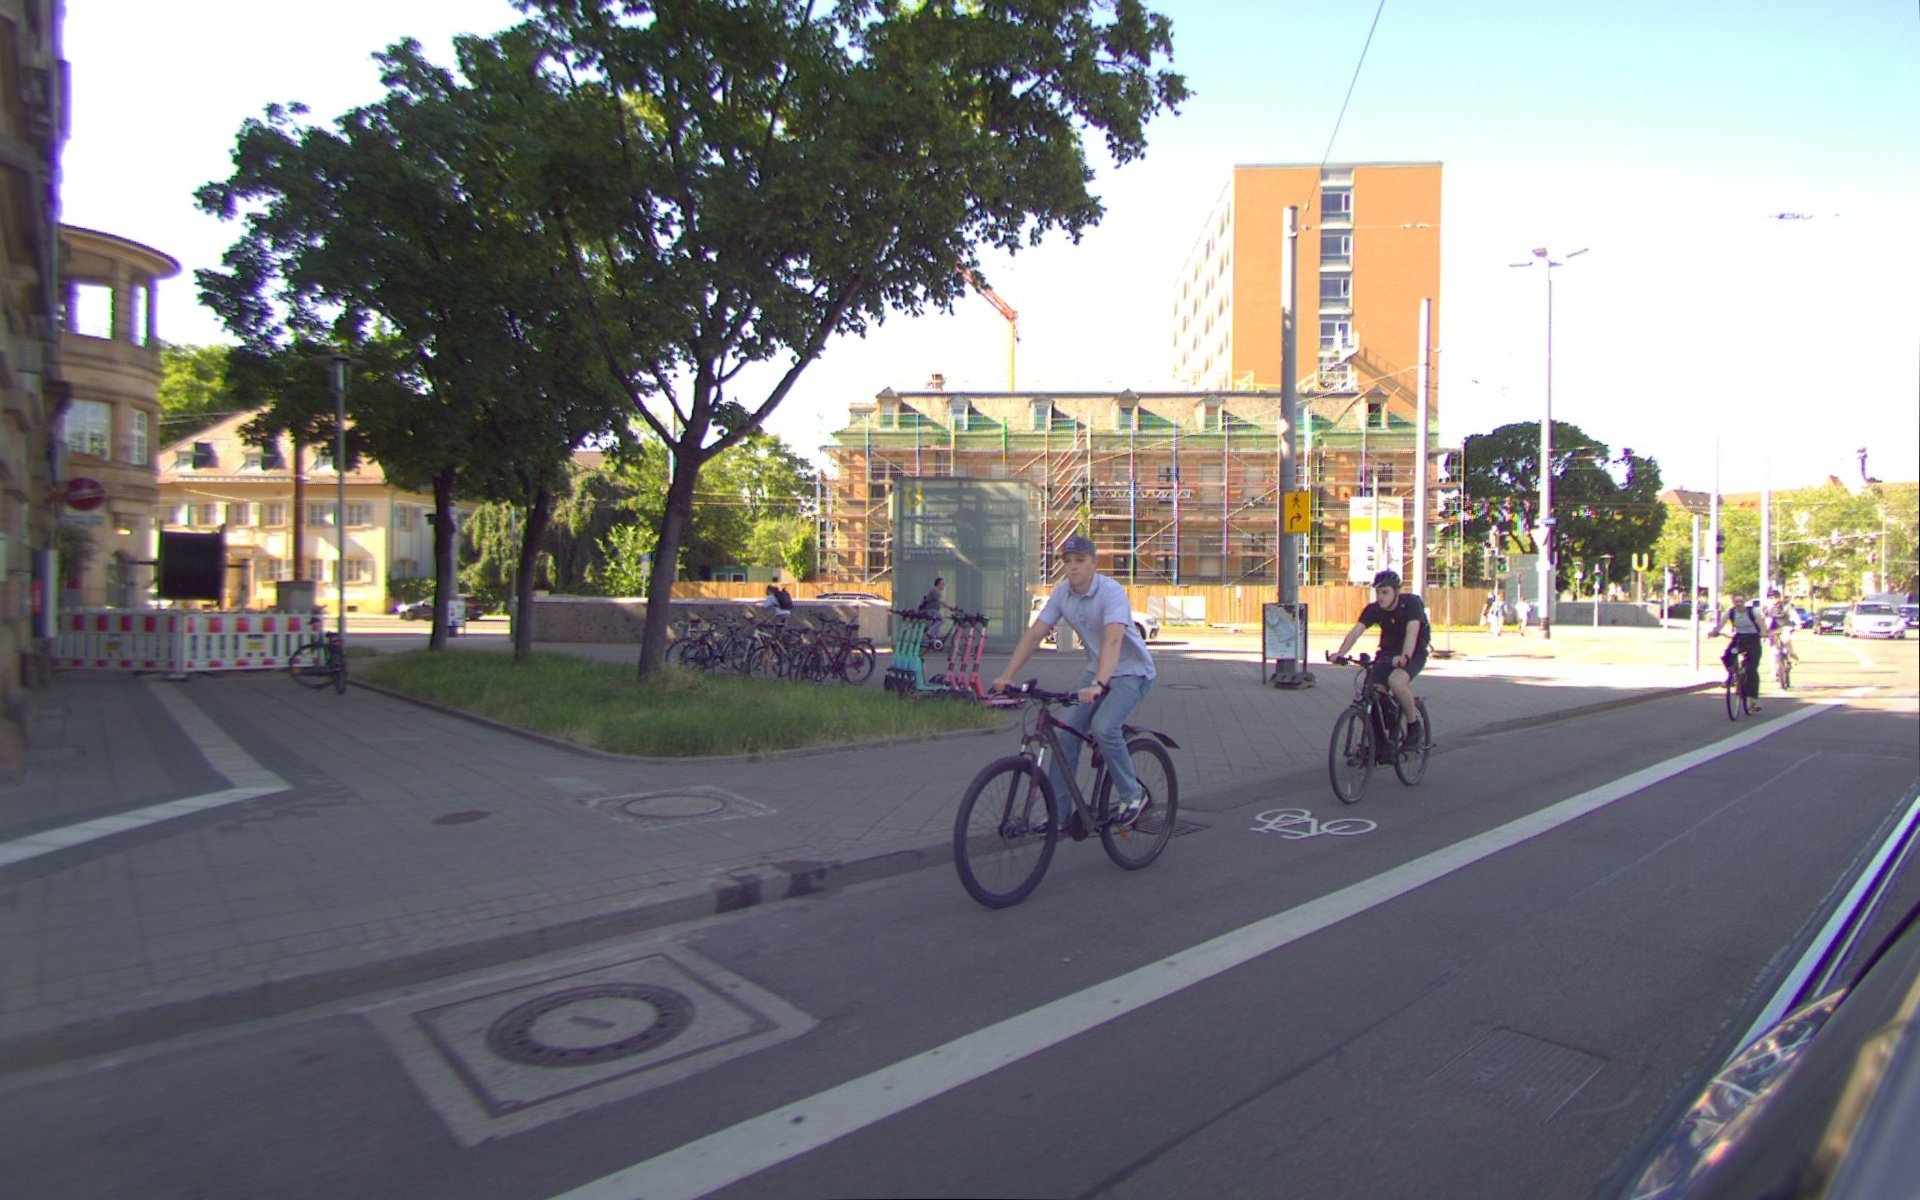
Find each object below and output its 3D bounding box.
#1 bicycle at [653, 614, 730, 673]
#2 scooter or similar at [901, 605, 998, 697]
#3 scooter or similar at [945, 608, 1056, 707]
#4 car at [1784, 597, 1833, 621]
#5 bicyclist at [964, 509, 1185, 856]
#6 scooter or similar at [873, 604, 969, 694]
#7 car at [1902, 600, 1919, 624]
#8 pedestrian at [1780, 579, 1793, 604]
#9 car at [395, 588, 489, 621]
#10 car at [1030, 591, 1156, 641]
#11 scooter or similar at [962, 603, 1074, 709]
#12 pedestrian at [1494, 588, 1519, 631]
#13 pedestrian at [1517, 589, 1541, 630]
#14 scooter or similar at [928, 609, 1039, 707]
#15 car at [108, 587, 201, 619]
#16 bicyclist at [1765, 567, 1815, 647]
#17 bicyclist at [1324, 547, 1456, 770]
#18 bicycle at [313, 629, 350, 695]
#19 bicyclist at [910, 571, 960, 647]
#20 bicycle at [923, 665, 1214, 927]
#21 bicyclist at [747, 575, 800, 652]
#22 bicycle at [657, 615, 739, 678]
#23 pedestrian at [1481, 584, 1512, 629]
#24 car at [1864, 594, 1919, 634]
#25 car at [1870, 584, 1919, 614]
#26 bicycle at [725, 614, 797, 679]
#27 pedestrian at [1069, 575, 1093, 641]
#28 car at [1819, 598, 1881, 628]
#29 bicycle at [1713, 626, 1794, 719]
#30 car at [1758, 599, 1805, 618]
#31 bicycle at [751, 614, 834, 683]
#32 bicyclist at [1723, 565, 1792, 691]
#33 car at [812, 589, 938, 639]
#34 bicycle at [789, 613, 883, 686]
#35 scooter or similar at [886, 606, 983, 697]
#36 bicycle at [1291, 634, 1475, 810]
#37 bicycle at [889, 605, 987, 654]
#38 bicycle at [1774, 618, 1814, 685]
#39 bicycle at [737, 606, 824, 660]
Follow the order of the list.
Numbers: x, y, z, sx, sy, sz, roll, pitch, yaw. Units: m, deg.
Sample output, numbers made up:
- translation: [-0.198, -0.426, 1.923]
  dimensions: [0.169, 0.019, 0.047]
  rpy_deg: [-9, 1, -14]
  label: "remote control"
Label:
- translation: [-5.186, 0.827, 19.595]
  dimensions: [0.403, 1.075, 1.440]
  rpy_deg: [-2, -1, 42]
  label: "bicycle"
- translation: [-0.126, 0.691, 14.103]
  dimensions: [1.537, 1.200, 0.270]
  rpy_deg: [-1, -1, -41]
  label: "scooter or similar"
- translation: [0.537, 0.702, 12.930]
  dimensions: [1.674, 1.172, 0.270]
  rpy_deg: [-1, -1, -41]
  label: "scooter or similar"
- translation: [58.033, 0.612, 69.276]
  dimensions: [1.872, 1.586, 3.968]
  rpy_deg: [-1, 0, 31]
  label: "car"
- translation: [0.600, 0.389, 5.304]
  dimensions: [0.871, 1.613, 0.783]
  rpy_deg: [1, -2, -44]
  label: "bicyclist"
- translation: [-0.550, 0.684, 14.595]
  dimensions: [1.537, 1.211, 0.270]
  rpy_deg: [-1, -1, -41]
  label: "scooter or similar"
- translation: [62.789, 0.731, 65.623]
  dimensions: [1.874, 1.477, 3.964]
  rpy_deg: [-1, 0, 34]
  label: "car"
- translation: [85.629, -0.879, 104.861]
  dimensions: [0.867, 2.466, 0.881]
  rpy_deg: [-1, -1, 28]
  label: "pedestrian"
- translation: [-27.354, 0.215, 53.544]
  dimensions: [3.922, 1.638, 2.001]
  rpy_deg: [-1, 0, -2]
  label: "car"
- translation: [4.582, 0.521, 34.700]
  dimensions: [4.184, 1.641, 1.913]
  rpy_deg: [0, 1, 11]
  label: "car"
- translation: [0.752, 0.670, 12.726]
  dimensions: [1.674, 1.235, 0.270]
  rpy_deg: [-1, -1, -41]
  label: "scooter or similar"
- translation: [22.954, 0.395, 42.509]
  dimensions: [0.659, 1.779, 0.810]
  rpy_deg: [-2, -1, 45]
  label: "pedestrian"
- translation: [23.964, 0.413, 42.621]
  dimensions: [0.659, 1.698, 0.810]
  rpy_deg: [-2, -1, 45]
  label: "pedestrian"
- translation: [0.326, 0.725, 13.141]
  dimensions: [1.674, 1.178, 0.270]
  rpy_deg: [-1, -1, -41]
  label: "scooter or similar"
- translation: [-43.907, 0.152, 55.210]
  dimensions: [3.754, 1.641, 1.916]
  rpy_deg: [0, 1, 6]
  label: "car"
- translation: [15.470, 0.128, 18.862]
  dimensions: [0.673, 1.439, 1.021]
  rpy_deg: [-2, -1, 41]
  label: "bicyclist"
- translation: [3.404, 0.429, 7.995]
  dimensions: [0.623, 1.634, 0.965]
  rpy_deg: [-2, -1, 44]
  label: "bicyclist"
- translation: [-8.969, 0.857, 14.424]
  dimensions: [0.397, 0.867, 1.422]
  rpy_deg: [-1, -1, -34]
  label: "bicycle"
- translation: [-0.558, 0.207, 22.815]
  dimensions: [1.029, 1.681, 0.453]
  rpy_deg: [-1, -1, 9]
  label: "bicyclist"
- translation: [0.643, 0.926, 5.331]
  dimensions: [1.901, 1.082, 0.386]
  rpy_deg: [1, -1, -44]
  label: "bicycle"
- translation: [-4.027, 0.294, 21.914]
  dimensions: [0.941, 1.634, 0.595]
  rpy_deg: [-1, -1, 22]
  label: "bicyclist"
- translation: [-4.734, 0.818, 18.355]
  dimensions: [0.403, 1.075, 1.438]
  rpy_deg: [-2, -1, 44]
  label: "bicycle"
- translation: [23.509, 0.289, 44.332]
  dimensions: [0.931, 1.954, 1.032]
  rpy_deg: [-2, -1, 45]
  label: "pedestrian"
- translation: [40.723, 0.577, 44.089]
  dimensions: [1.879, 1.651, 3.953]
  rpy_deg: [-2, -1, 41]
  label: "car"
- translation: [88.173, -0.087, 95.262]
  dimensions: [2.220, 2.715, 5.262]
  rpy_deg: [-1, 0, 24]
  label: "car"
- translation: [-3.461, 0.791, 17.668]
  dimensions: [0.401, 1.075, 1.336]
  rpy_deg: [-2, -1, 33]
  label: "bicycle"
- translation: [3.469, 0.233, 28.943]
  dimensions: [0.639, 1.872, 0.546]
  rpy_deg: [-1, -1, 7]
  label: "pedestrian"
- translation: [49.964, 0.721, 56.886]
  dimensions: [1.872, 1.586, 3.968]
  rpy_deg: [-1, 0, 31]
  label: "car"
- translation: [10.608, 0.924, 13.499]
  dimensions: [1.901, 1.132, 0.532]
  rpy_deg: [1, -1, -42]
  label: "bicycle"
- translation: [65.864, 0.673, 81.203]
  dimensions: [1.903, 1.477, 4.626]
  rpy_deg: [-1, 0, 26]
  label: "car"
- translation: [-2.772, 0.784, 16.802]
  dimensions: [1.328, 1.075, 0.404]
  rpy_deg: [-1, -1, -41]
  label: "bicycle"
- translation: [10.794, 0.363, 13.698]
  dimensions: [0.937, 1.634, 0.550]
  rpy_deg: [0, -1, -42]
  label: "bicyclist"
- translation: [-3.008, 0.471, 36.238]
  dimensions: [4.184, 1.707, 1.913]
  rpy_deg: [0, 1, 11]
  label: "car"
- translation: [-1.939, 0.754, 15.947]
  dimensions: [1.455, 1.075, 0.404]
  rpy_deg: [-1, -1, -36]
  label: "bicycle"
- translation: [-0.339, 0.702, 14.337]
  dimensions: [1.537, 1.200, 0.270]
  rpy_deg: [-1, -1, -41]
  label: "scooter or similar"
- translation: [3.328, 0.877, 7.871]
  dimensions: [1.900, 1.131, 0.532]
  rpy_deg: [-1, 1, -41]
  label: "bicycle"
- translation: [-0.496, 0.646, 22.794]
  dimensions: [2.159, 1.072, 0.487]
  rpy_deg: [0, -1, 10]
  label: "bicycle"
- translation: [15.419, 0.921, 18.714]
  dimensions: [0.531, 1.173, 1.839]
  rpy_deg: [-1, -1, 39]
  label: "bicycle"
- translation: [-3.887, 0.709, 21.868]
  dimensions: [1.915, 1.132, 0.528]
  rpy_deg: [-1, -2, 27]
  label: "bicycle"
